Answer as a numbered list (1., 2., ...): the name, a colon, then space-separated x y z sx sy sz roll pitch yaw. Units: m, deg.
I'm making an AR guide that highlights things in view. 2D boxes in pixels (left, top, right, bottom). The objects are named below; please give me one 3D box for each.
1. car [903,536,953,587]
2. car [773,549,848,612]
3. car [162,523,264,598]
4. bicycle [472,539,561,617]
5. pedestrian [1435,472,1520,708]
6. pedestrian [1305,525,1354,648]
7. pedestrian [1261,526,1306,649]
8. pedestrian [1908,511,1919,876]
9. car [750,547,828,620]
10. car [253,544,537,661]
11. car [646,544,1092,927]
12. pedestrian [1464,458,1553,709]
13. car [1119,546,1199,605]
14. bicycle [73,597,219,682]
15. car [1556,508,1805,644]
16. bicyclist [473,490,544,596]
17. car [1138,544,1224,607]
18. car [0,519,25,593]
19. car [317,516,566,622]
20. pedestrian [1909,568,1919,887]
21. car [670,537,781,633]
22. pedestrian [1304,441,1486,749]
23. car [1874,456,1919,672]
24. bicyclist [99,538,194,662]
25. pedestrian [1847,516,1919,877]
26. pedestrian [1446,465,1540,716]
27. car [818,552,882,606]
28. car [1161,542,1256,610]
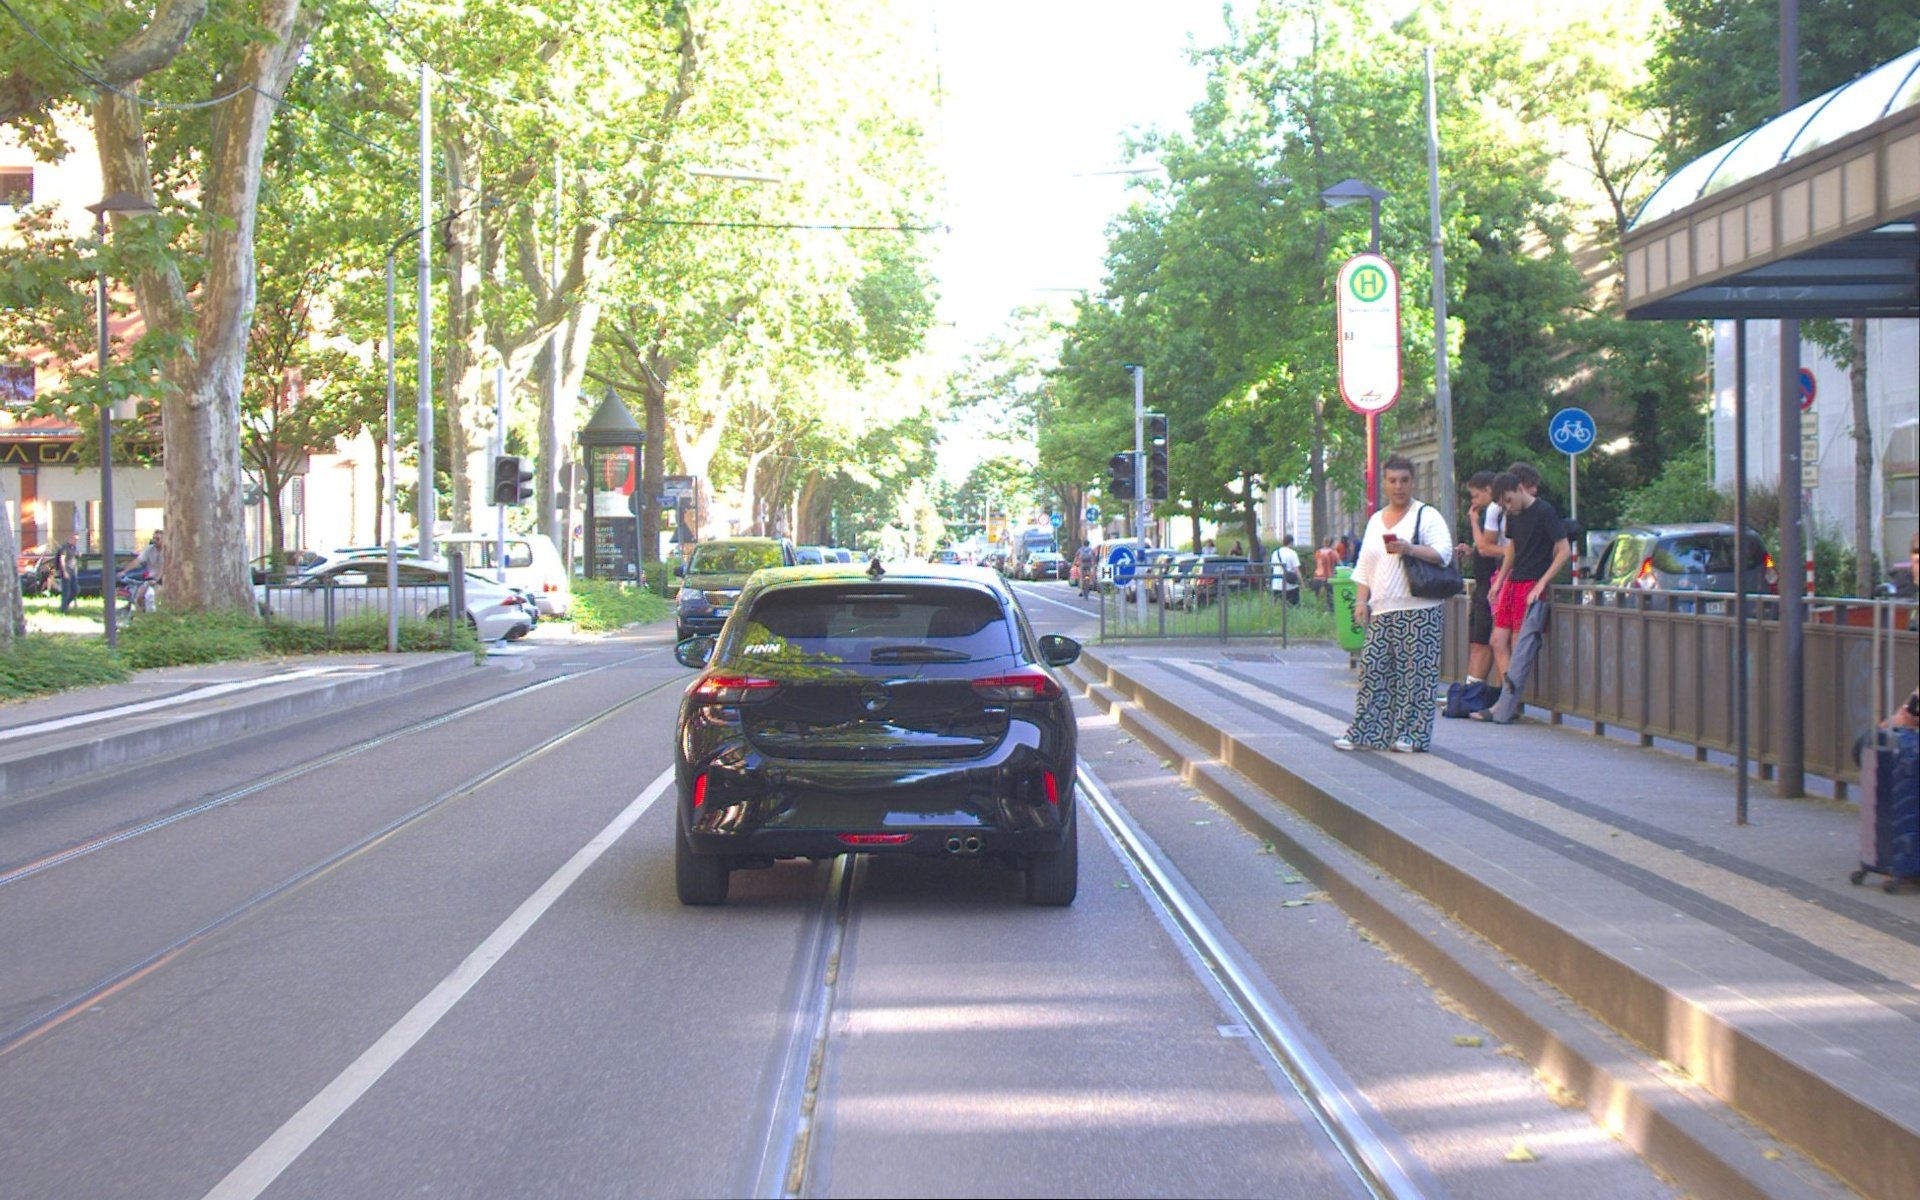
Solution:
1. car: -1.318 -1.570 139.963 1.993 2.007 4.000 1 0 -1
2. car: -4.135 -0.555 95.054 1.993 1.687 4.000 0 0 -2
3. car: -20.587 -1.075 94.897 1.993 2.007 4.000 1 0 -1
4. bicycle: -7.305 -0.368 56.776 0.955 1.236 2.977 1 0 2
5. pedestrian: 3.783 -0.073 25.174 0.531 1.703 0.596 1 0 2
6. pedestrian: 6.096 -0.229 56.708 0.675 2.007 0.701 2 1 11
7. pedestrian: 5.388 -0.217 57.255 0.675 2.007 0.701 2 1 5
8. pedestrian: 3.682 0.337 12.165 0.502 1.300 0.429 0 0 -5
9. car: -4.024 -0.396 81.357 1.785 1.687 4.000 0 0 -2
10. car: -8.436 0.031 51.524 4.113 1.695 1.884 0 0 -8
11. car: -0.455 0.523 15.565 1.759 1.503 3.683 -1 1 -3
12. pedestrian: 3.899 -0.120 24.467 0.531 1.757 0.661 1 0 2
13. car: 5.658 -0.703 98.221 1.993 1.627 4.000 1 0 -1
14. bicycle: -12.398 0.582 52.470 0.955 1.236 2.976 1 0 13
15. car: 8.284 -0.283 39.893 1.993 1.481 4.000 1 0 -1
16. bicyclist: -7.332 -0.921 55.866 0.941 1.697 1.153 1 0 2
17. car: 5.864 -0.645 91.645 1.993 1.627 4.000 1 0 -1
18. car: -27.108 -1.213 94.109 1.993 2.007 4.000 1 0 -1
19. car: -9.361 -0.558 62.222 4.383 1.845 2.000 0 0 -8
20. pedestrian: 3.582 0.441 11.657 0.534 1.096 0.551 0 0 -5
21. car: -3.904 -0.260 57.765 1.745 1.539 4.000 0 0 -2
22. pedestrian: 2.474 -0.032 19.539 0.751 1.703 0.762 1 0 34
23. car: 8.995 -0.286 27.882 1.993 1.791 4.000 1 0 -2
24. bicyclist: -12.395 -0.005 52.416 0.955 1.870 1.206 1 0 13
25. pedestrian: 3.628 0.346 12.661 0.534 1.300 0.551 0 0 -5
26. pedestrian: 3.674 -0.067 23.734 0.531 1.703 0.752 1 0 2
27. car: -3.572 -0.686 111.078 1.993 1.687 4.000 0 0 -2
28. car: 6.130 -0.587 85.165 1.993 1.627 4.000 1 0 -1
